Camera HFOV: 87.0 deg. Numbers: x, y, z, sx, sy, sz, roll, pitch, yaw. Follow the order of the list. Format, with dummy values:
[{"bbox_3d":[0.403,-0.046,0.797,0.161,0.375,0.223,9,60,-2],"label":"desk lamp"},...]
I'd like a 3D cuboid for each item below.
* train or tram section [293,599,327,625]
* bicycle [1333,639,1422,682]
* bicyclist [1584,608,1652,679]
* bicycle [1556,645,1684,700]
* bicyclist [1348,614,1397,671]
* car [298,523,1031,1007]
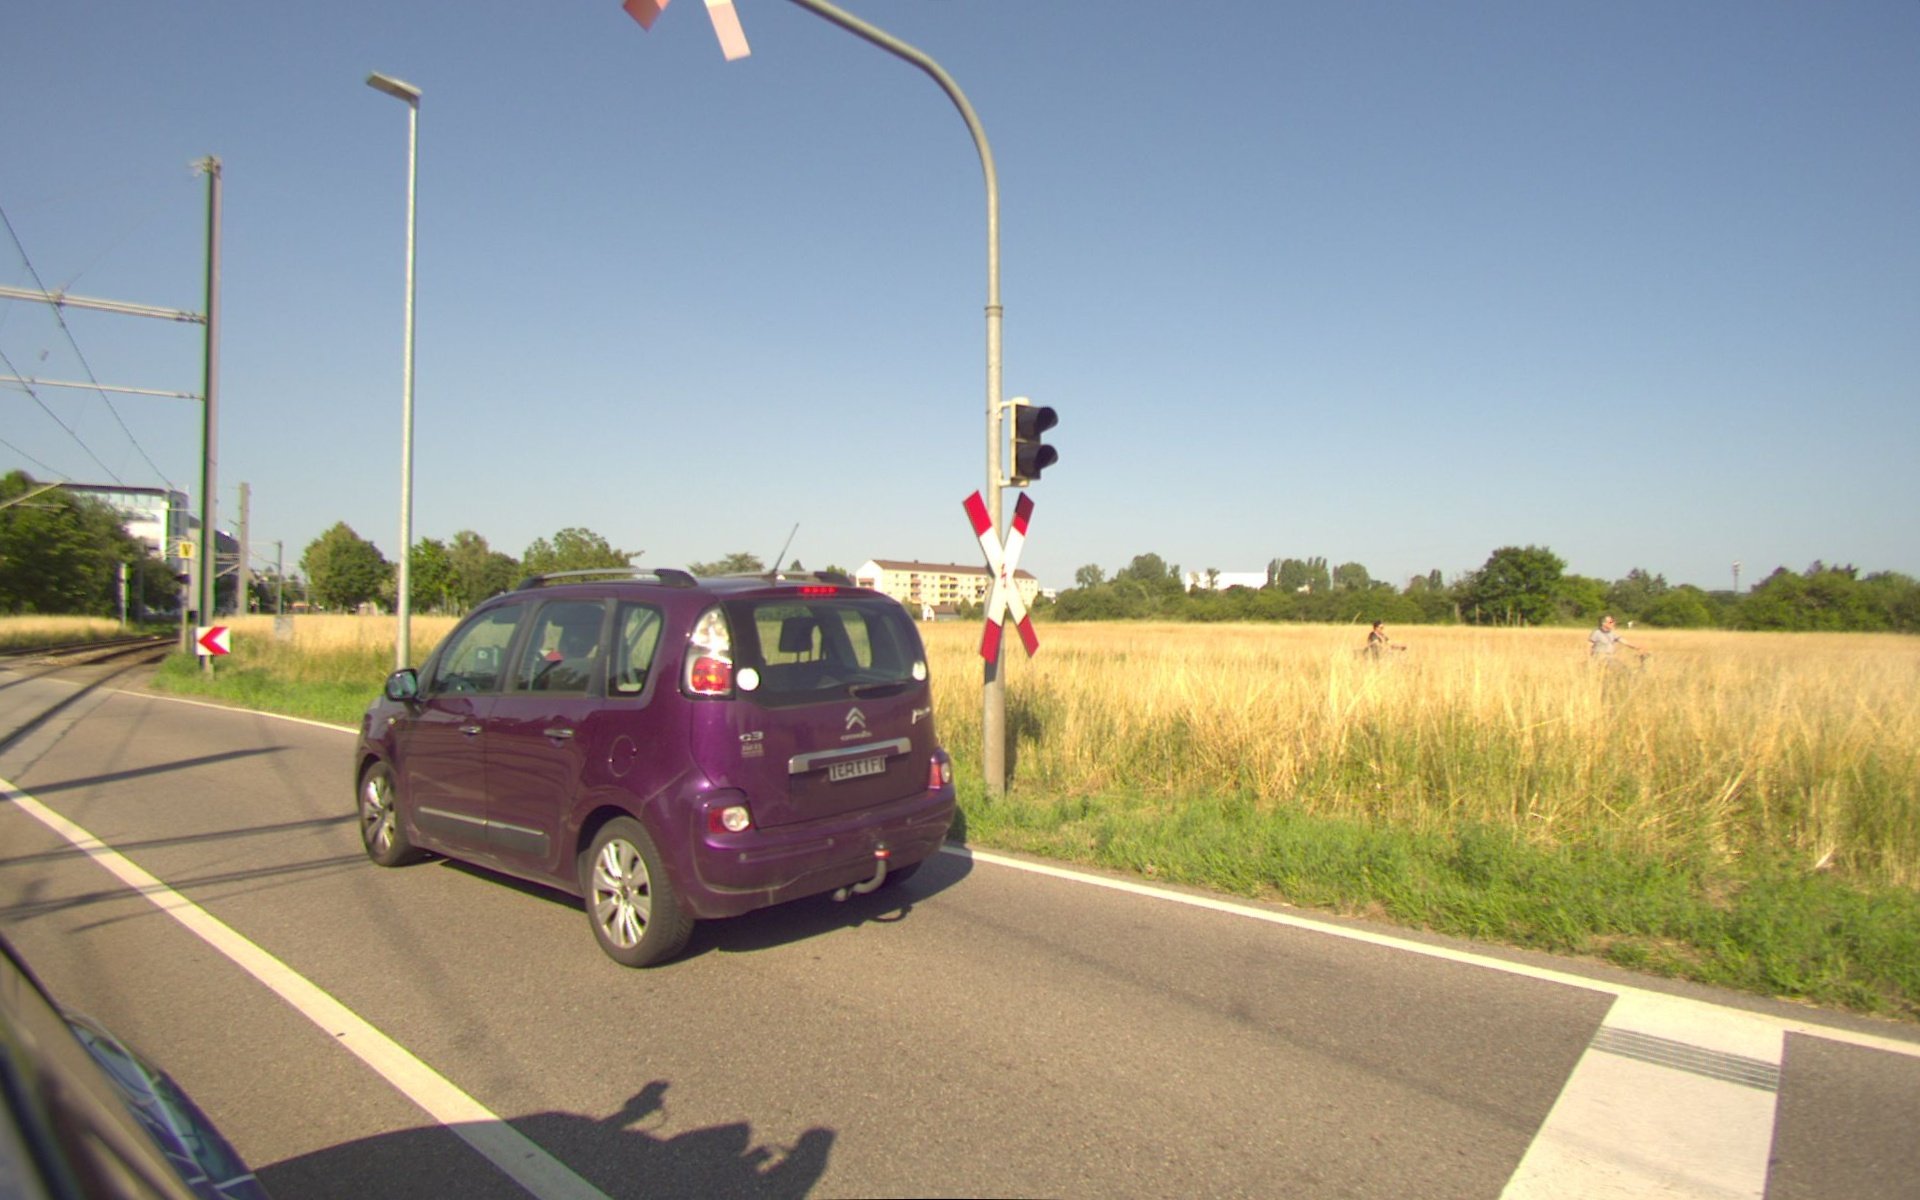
[{"bbox_3d":[-106.327,1.878,165.782,2.865,3.595,14.309,-1,1,-25],"label":"train or tram section"},{"bbox_3d":[9.108,1.299,22.137,0.605,0.845,1.740,0,0,-36],"label":"bicycle"},{"bbox_3d":[11.602,0.749,17.849,0.735,1.214,0.791,0,-1,-37],"label":"bicyclist"},{"bbox_3d":[11.607,1.247,17.833,0.740,0.845,1.740,0,0,-36],"label":"bicycle"},{"bbox_3d":[9.049,0.919,22.216,0.594,1.214,0.791,0,-1,-36],"label":"bicyclist"},{"bbox_3d":[-1.954,0.599,5.653,4.586,1.678,1.689,-1,-1,40],"label":"car"}]
